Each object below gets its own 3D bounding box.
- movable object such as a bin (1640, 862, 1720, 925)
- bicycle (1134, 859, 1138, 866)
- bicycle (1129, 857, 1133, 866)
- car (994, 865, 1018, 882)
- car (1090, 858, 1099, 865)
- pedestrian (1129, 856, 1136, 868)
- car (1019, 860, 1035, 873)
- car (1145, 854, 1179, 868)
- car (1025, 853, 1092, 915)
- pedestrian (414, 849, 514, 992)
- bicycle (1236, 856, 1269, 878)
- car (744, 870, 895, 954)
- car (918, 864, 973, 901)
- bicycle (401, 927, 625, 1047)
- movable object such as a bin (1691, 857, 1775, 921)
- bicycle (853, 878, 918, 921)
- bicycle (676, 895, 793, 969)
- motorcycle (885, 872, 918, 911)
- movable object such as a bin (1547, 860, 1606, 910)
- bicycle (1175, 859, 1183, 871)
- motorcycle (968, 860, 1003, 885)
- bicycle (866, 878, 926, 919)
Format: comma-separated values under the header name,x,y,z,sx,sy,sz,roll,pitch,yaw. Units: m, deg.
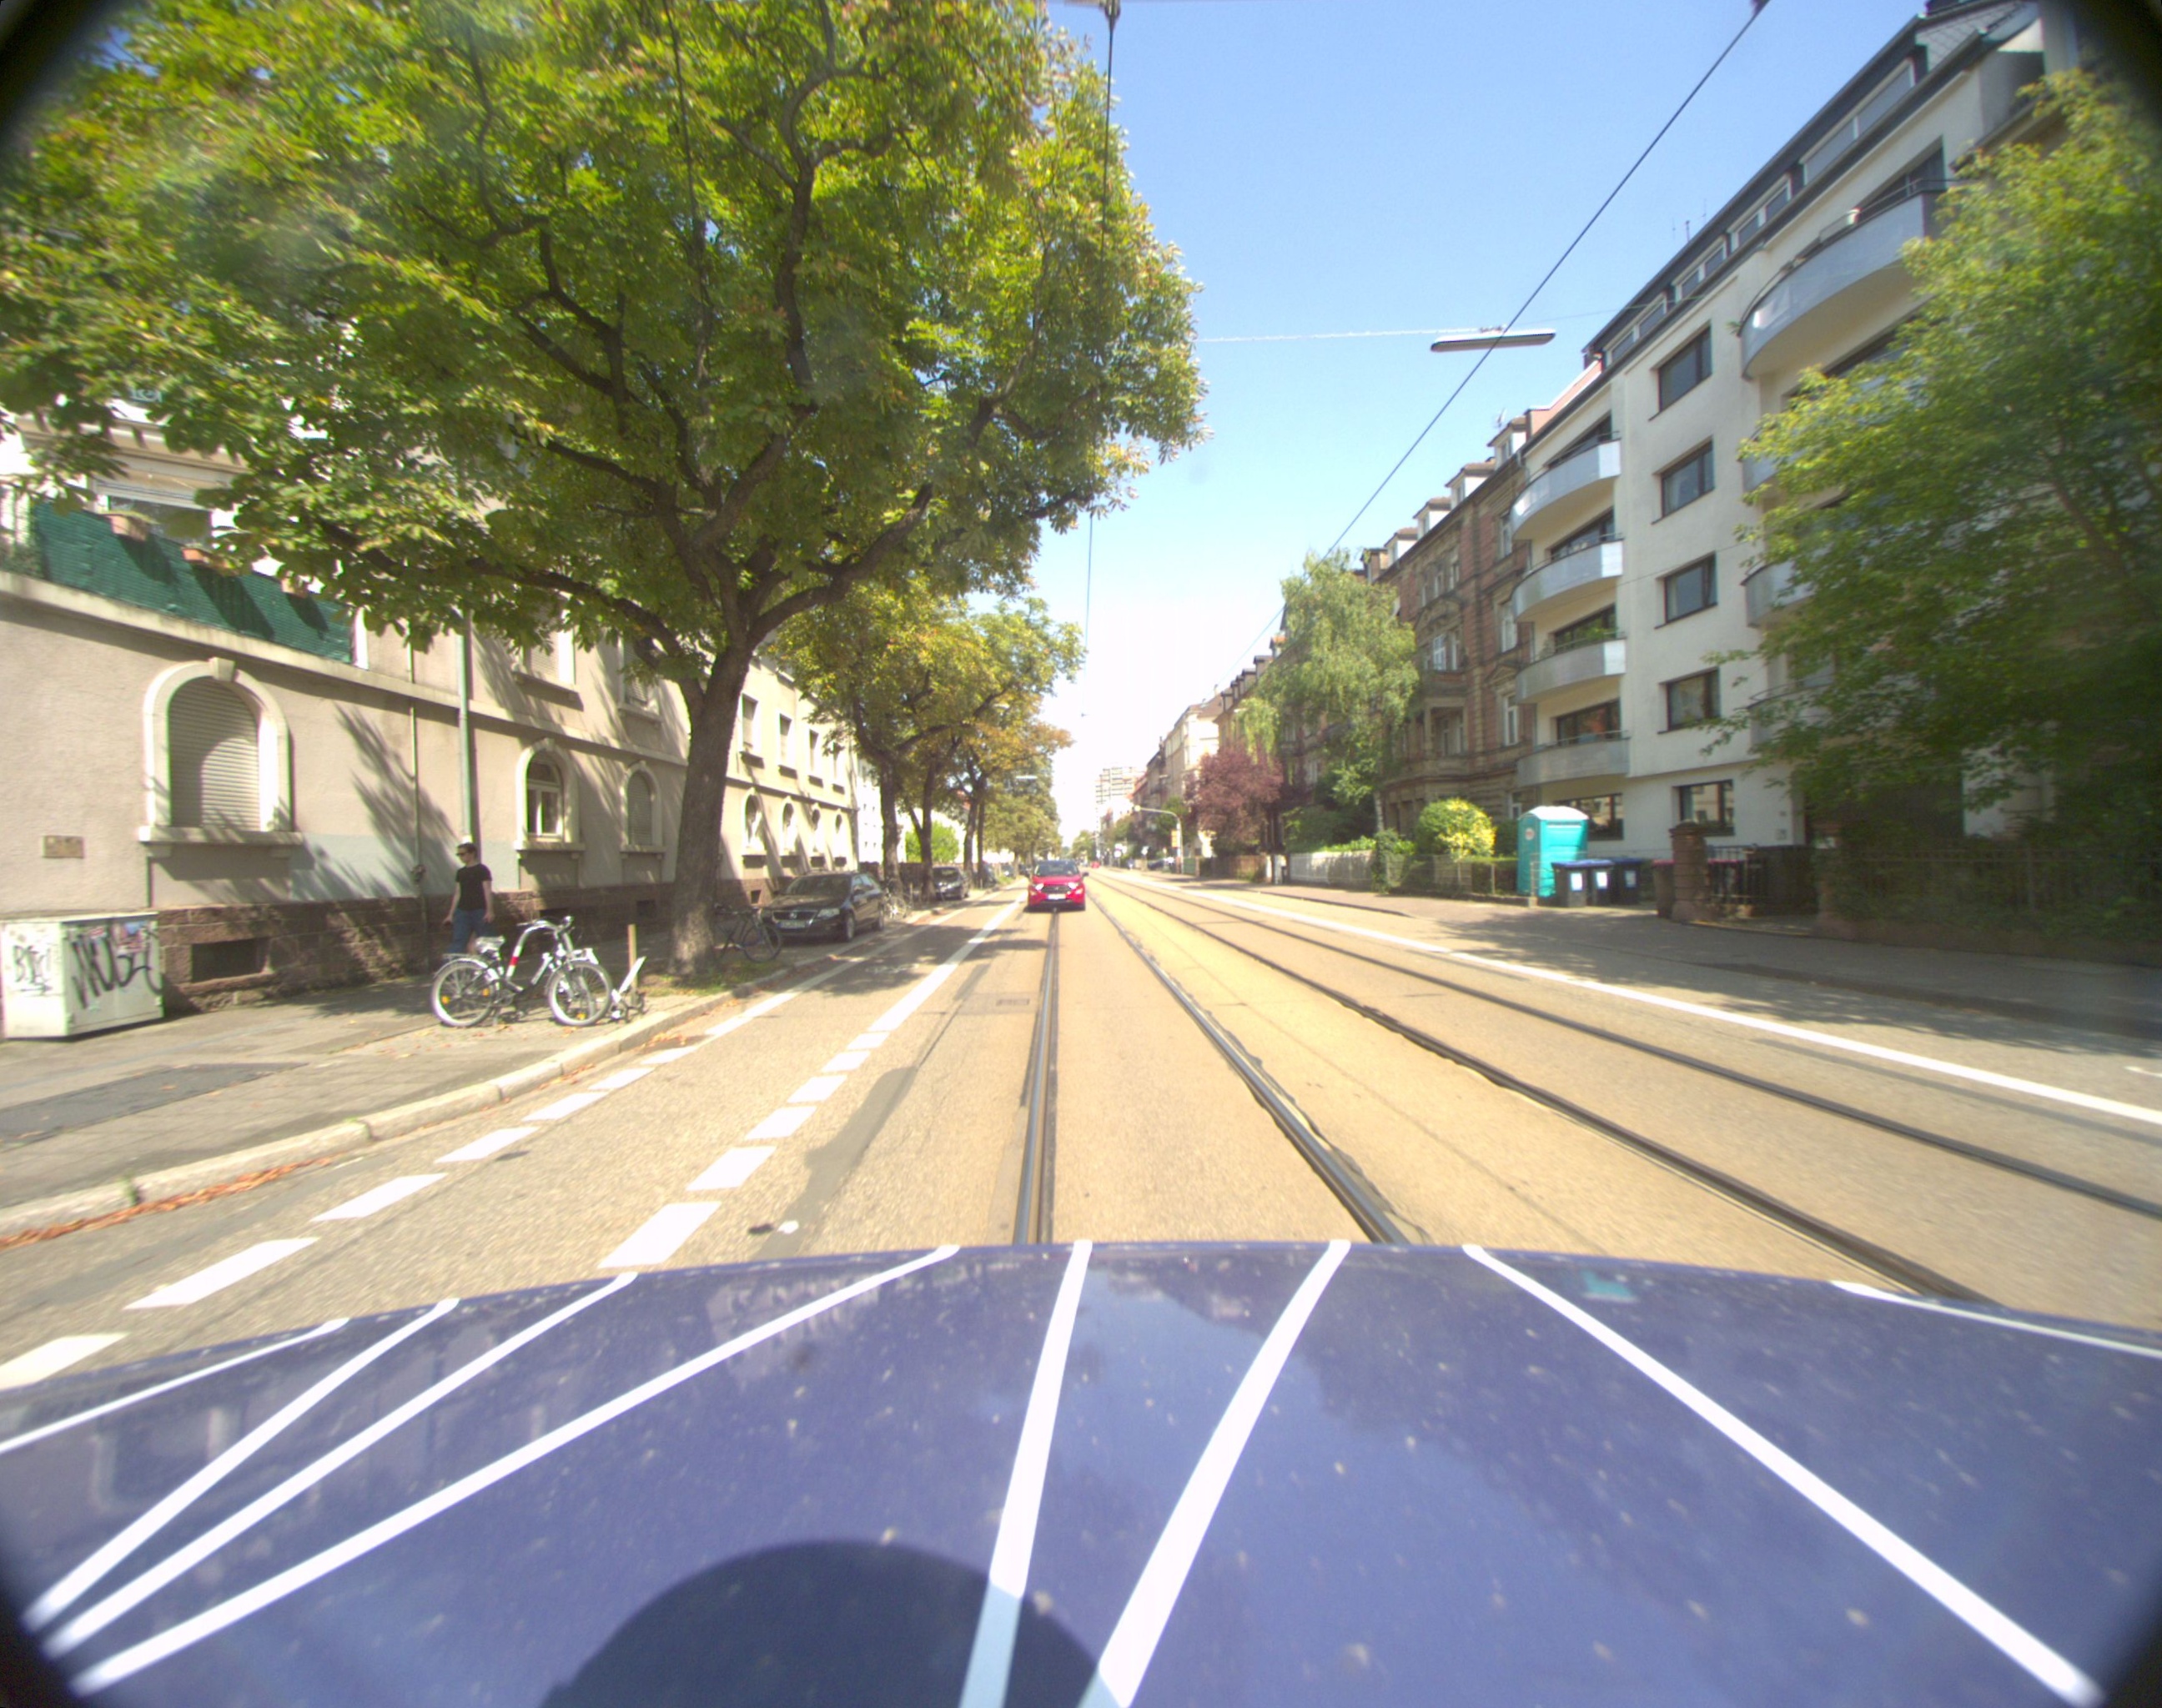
name,x,y,z,sx,sy,sz,roll,pitch,yaw
movable object such as a bin,10.833,0.703,13.770,0.788,1.069,0.803,-3,0,1
bicycle,7.946,1.187,110.004,0.391,1.032,1.833,-2,-1,-1
bicycle,7.856,1.197,119.935,0.391,1.397,1.582,-2,0,-1
car,-7.102,1.857,72.122,1.897,1.468,4.840,-2,0,-2
car,3.098,1.716,170.717,1.736,1.481,4.000,-1,-1,-2
pedestrian,7.250,1.158,107.512,0.885,1.745,0.870,-2,0,-1
car,-6.392,1.527,90.684,1.760,1.468,4.386,-2,-1,-2
car,10.629,0.936,99.986,4.112,1.585,1.879,-3,0,0
car,-0.645,0.891,24.604,1.802,1.801,4.417,-1,0,3
pedestrian,-8.457,0.881,10.439,0.708,1.881,0.714,-2,1,0
bicycle,10.450,0.785,46.251,1.817,1.175,0.716,-3,0,1
car,-5.603,1.161,16.998,1.845,1.523,4.779,-1,0,-2
car,-6.021,1.271,34.235,1.845,1.522,4.115,-1,-2,-2
bicycle,-5.508,1.279,7.427,1.717,1.026,0.566,-2,0,-1
movable object such as a bin,11.680,0.615,13.635,0.788,1.069,0.803,-3,0,1
bicycle,-5.534,1.276,21.523,1.726,1.143,0.377,-2,0,5
bicycle,-5.613,1.258,12.339,1.726,1.130,0.377,-2,0,5
motorcycle,-6.249,1.280,26.542,0.712,1.248,2.176,-2,0,-3
movable object such as a bin,11.312,0.689,17.369,0.789,1.069,0.754,-3,0,-3
bicycle,8.841,1.017,68.512,0.391,1.092,1.568,-2,-1,-4
motorcycle,-6.373,1.201,50.462,2.339,1.531,0.971,1,2,40
bicycle,-5.333,1.283,21.902,1.609,1.097,0.399,-2,0,5
